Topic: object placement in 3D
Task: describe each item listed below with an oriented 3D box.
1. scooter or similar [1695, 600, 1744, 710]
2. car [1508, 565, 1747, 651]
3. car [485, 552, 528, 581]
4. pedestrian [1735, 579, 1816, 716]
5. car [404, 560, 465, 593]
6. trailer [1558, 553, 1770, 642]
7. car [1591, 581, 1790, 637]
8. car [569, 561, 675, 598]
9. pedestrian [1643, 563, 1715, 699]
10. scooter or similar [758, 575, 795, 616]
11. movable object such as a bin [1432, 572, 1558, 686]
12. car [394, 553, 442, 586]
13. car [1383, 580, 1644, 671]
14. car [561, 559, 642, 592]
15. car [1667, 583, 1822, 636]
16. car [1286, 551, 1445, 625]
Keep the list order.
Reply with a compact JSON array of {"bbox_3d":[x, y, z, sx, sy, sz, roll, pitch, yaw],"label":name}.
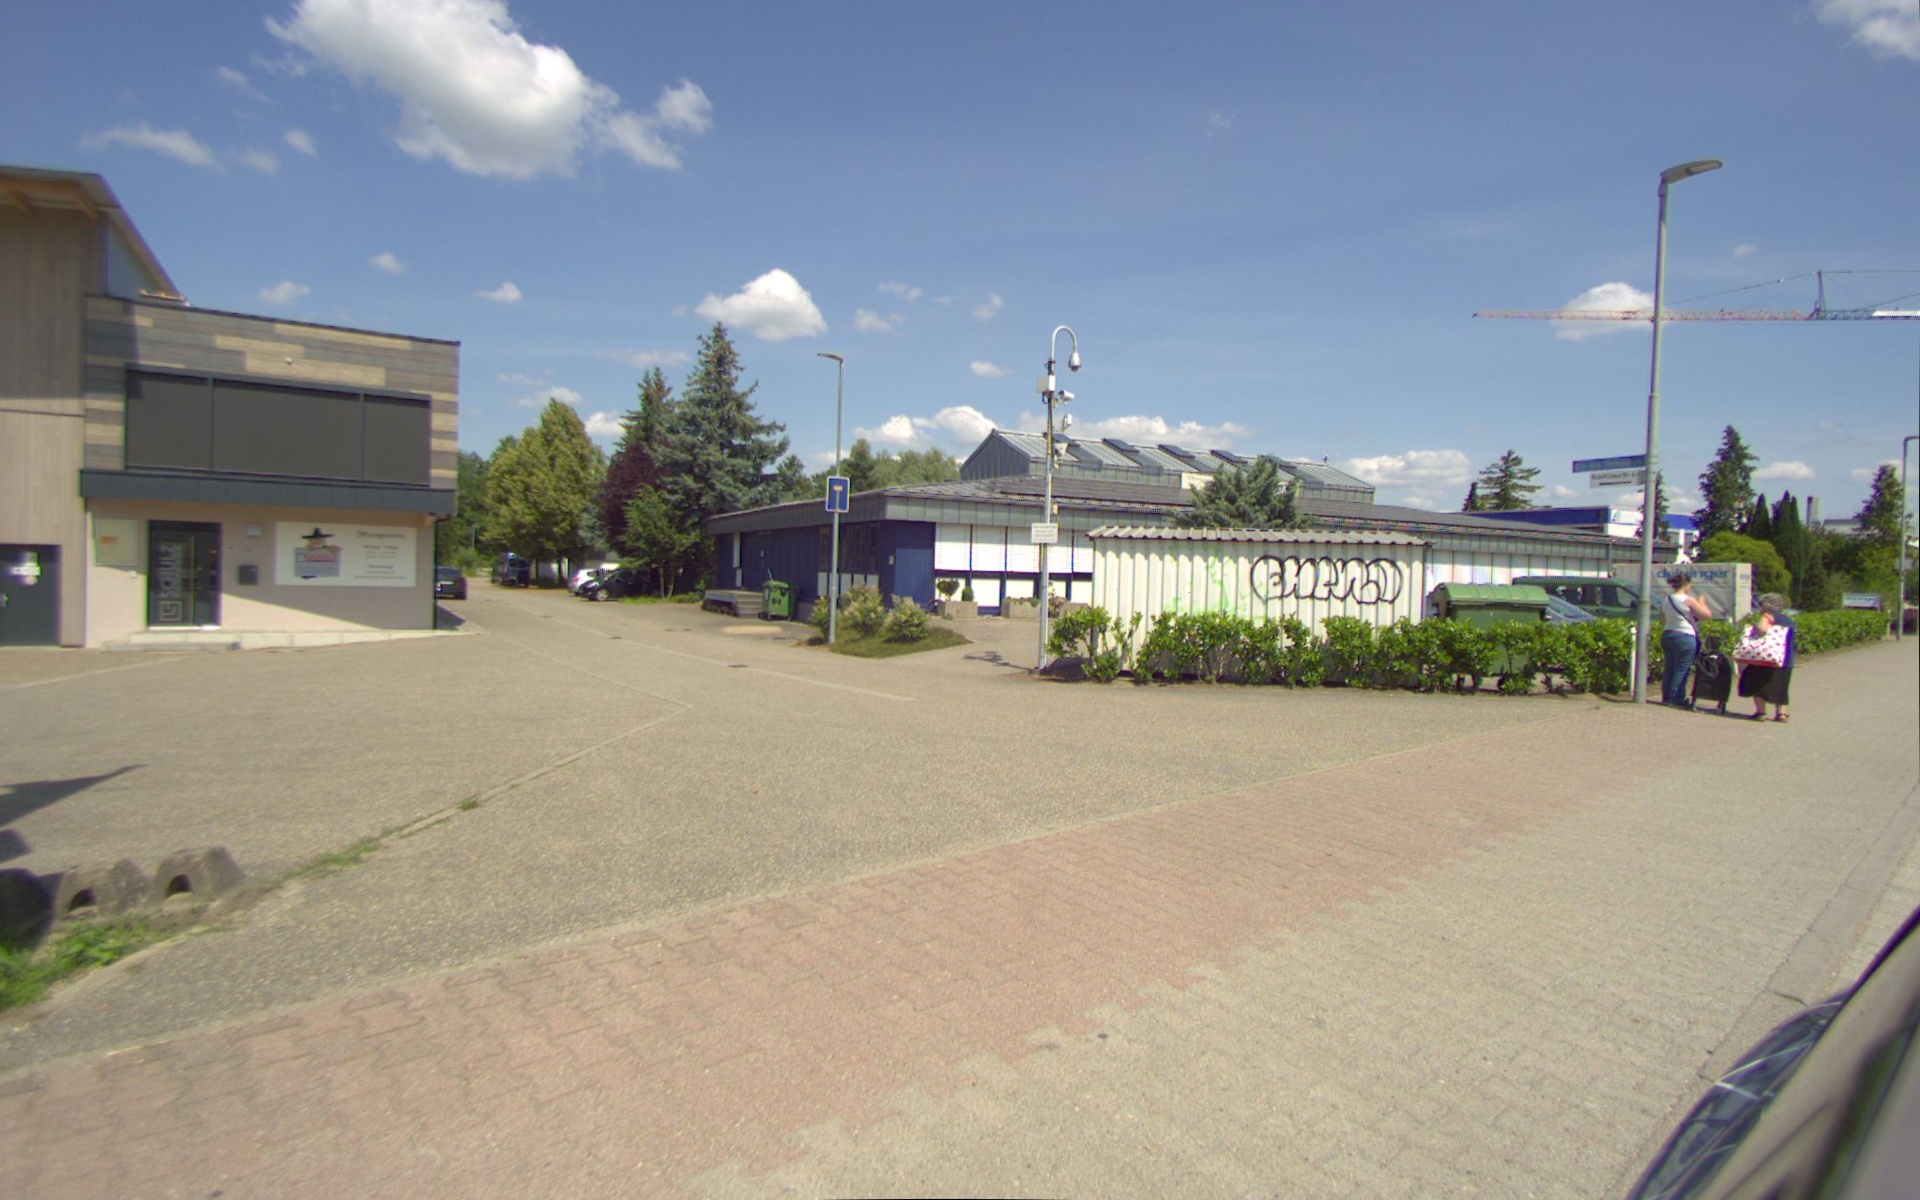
[{"bbox_3d":[8.720,0.622,11.617,0.391,1.212,0.334,-2,4,-41],"label":"scooter or similar"},{"bbox_3d":[15.108,0.087,23.077,1.770,1.653,4.220,-3,5,-42],"label":"car"},{"bbox_3d":[-32.698,-2.402,72.900,1.963,2.039,3.998,0,1,-38],"label":"car"},{"bbox_3d":[9.005,0.500,11.172,0.574,1.422,0.566,-2,4,-42],"label":"pedestrian"},{"bbox_3d":[-23.785,-1.044,45.751,1.962,1.393,4.001,0,1,-34],"label":"car"},{"bbox_3d":[17.524,-0.092,25.331,1.965,2.039,3.994,1,0,-41],"label":"trailer"},{"bbox_3d":[21.338,0.218,29.696,1.785,1.458,4.478,0,1,-44],"label":"car"},{"bbox_3d":[-16.201,-1.029,48.602,4.534,1.693,1.760,-2,3,-41],"label":"car"},{"bbox_3d":[8.529,0.347,12.010,0.502,1.558,0.536,-1,3,-42],"label":"pedestrian"},{"bbox_3d":[-6.251,-0.165,34.531,0.907,1.337,1.116,-2,4,-31],"label":"scooter or similar"},{"bbox_3d":[7.250,0.373,13.786,1.248,1.477,1.045,0,0,12],"label":"movable object such as a bin"},{"bbox_3d":[-30.597,-1.692,57.070,1.962,1.772,4.000,0,1,-35],"label":"car"},{"bbox_3d":[10.124,0.387,18.726,1.785,1.473,3.853,0,1,-40],"label":"car"},{"bbox_3d":[-19.354,-1.292,54.731,3.798,1.693,1.682,0,1,-39],"label":"car"},{"bbox_3d":[23.841,0.256,30.833,1.737,1.419,3.363,0,2,-37],"label":"car"},{"bbox_3d":[12.811,-0.401,31.975,4.620,2.151,2.111,0,3,-28],"label":"car"}]
